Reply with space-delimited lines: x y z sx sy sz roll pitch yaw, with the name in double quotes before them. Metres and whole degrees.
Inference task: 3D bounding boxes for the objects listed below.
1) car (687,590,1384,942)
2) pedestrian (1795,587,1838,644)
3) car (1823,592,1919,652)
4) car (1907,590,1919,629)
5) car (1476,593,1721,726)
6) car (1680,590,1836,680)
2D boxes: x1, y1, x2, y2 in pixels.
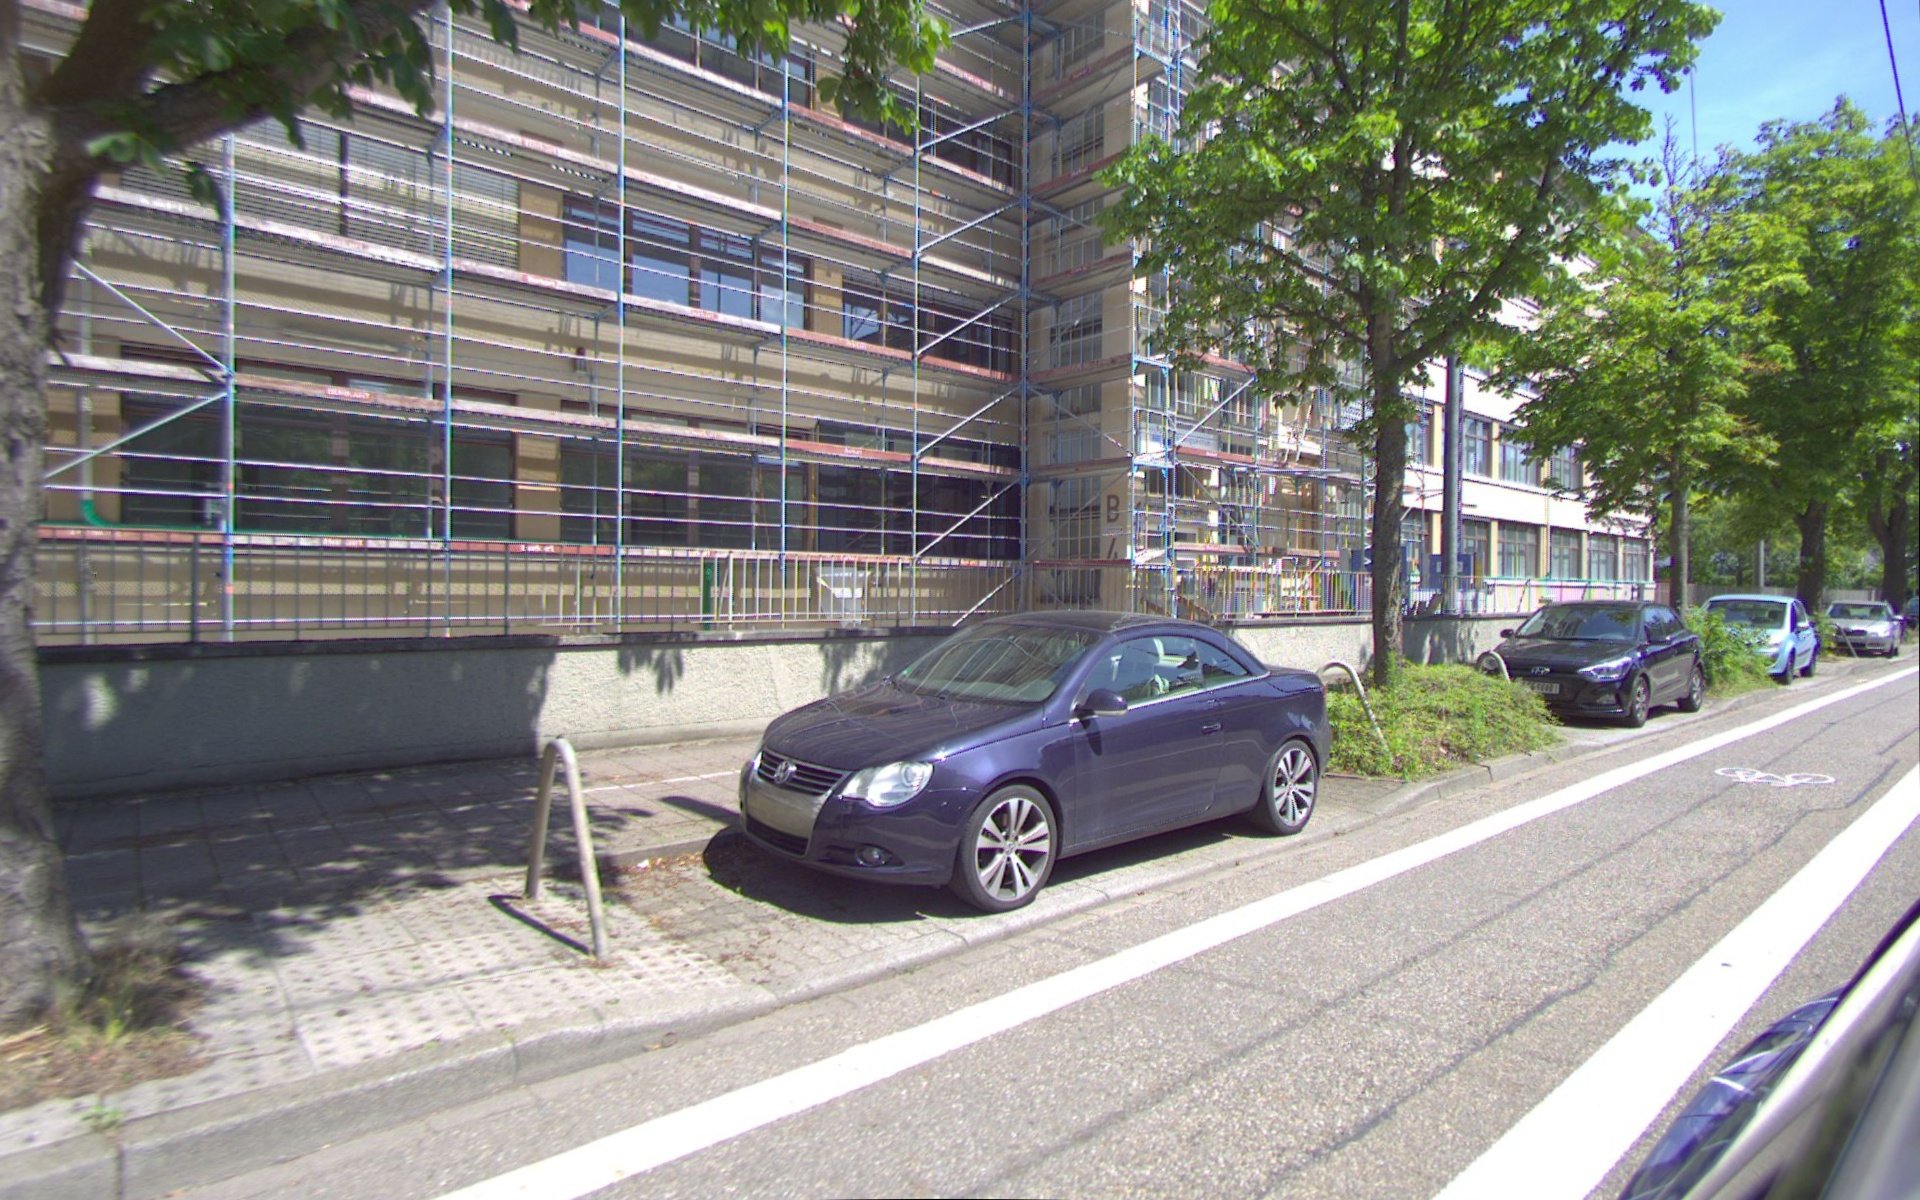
"car" 0.724 0.692 6.434 4.406 1.490 1.828 0 1 -40
"pedestrian" 25.046 0.442 29.594 0.904 1.608 0.801 0 2 -42
"car" 24.967 0.543 27.685 4.294 1.518 1.672 0 1 -44
"car" 39.273 0.367 40.503 3.912 1.508 1.674 0 1 -42
"car" 8.336 0.639 13.076 3.972 1.456 1.674 0 1 -42
"car" 15.312 0.590 19.341 4.129 1.537 1.674 0 1 -42
